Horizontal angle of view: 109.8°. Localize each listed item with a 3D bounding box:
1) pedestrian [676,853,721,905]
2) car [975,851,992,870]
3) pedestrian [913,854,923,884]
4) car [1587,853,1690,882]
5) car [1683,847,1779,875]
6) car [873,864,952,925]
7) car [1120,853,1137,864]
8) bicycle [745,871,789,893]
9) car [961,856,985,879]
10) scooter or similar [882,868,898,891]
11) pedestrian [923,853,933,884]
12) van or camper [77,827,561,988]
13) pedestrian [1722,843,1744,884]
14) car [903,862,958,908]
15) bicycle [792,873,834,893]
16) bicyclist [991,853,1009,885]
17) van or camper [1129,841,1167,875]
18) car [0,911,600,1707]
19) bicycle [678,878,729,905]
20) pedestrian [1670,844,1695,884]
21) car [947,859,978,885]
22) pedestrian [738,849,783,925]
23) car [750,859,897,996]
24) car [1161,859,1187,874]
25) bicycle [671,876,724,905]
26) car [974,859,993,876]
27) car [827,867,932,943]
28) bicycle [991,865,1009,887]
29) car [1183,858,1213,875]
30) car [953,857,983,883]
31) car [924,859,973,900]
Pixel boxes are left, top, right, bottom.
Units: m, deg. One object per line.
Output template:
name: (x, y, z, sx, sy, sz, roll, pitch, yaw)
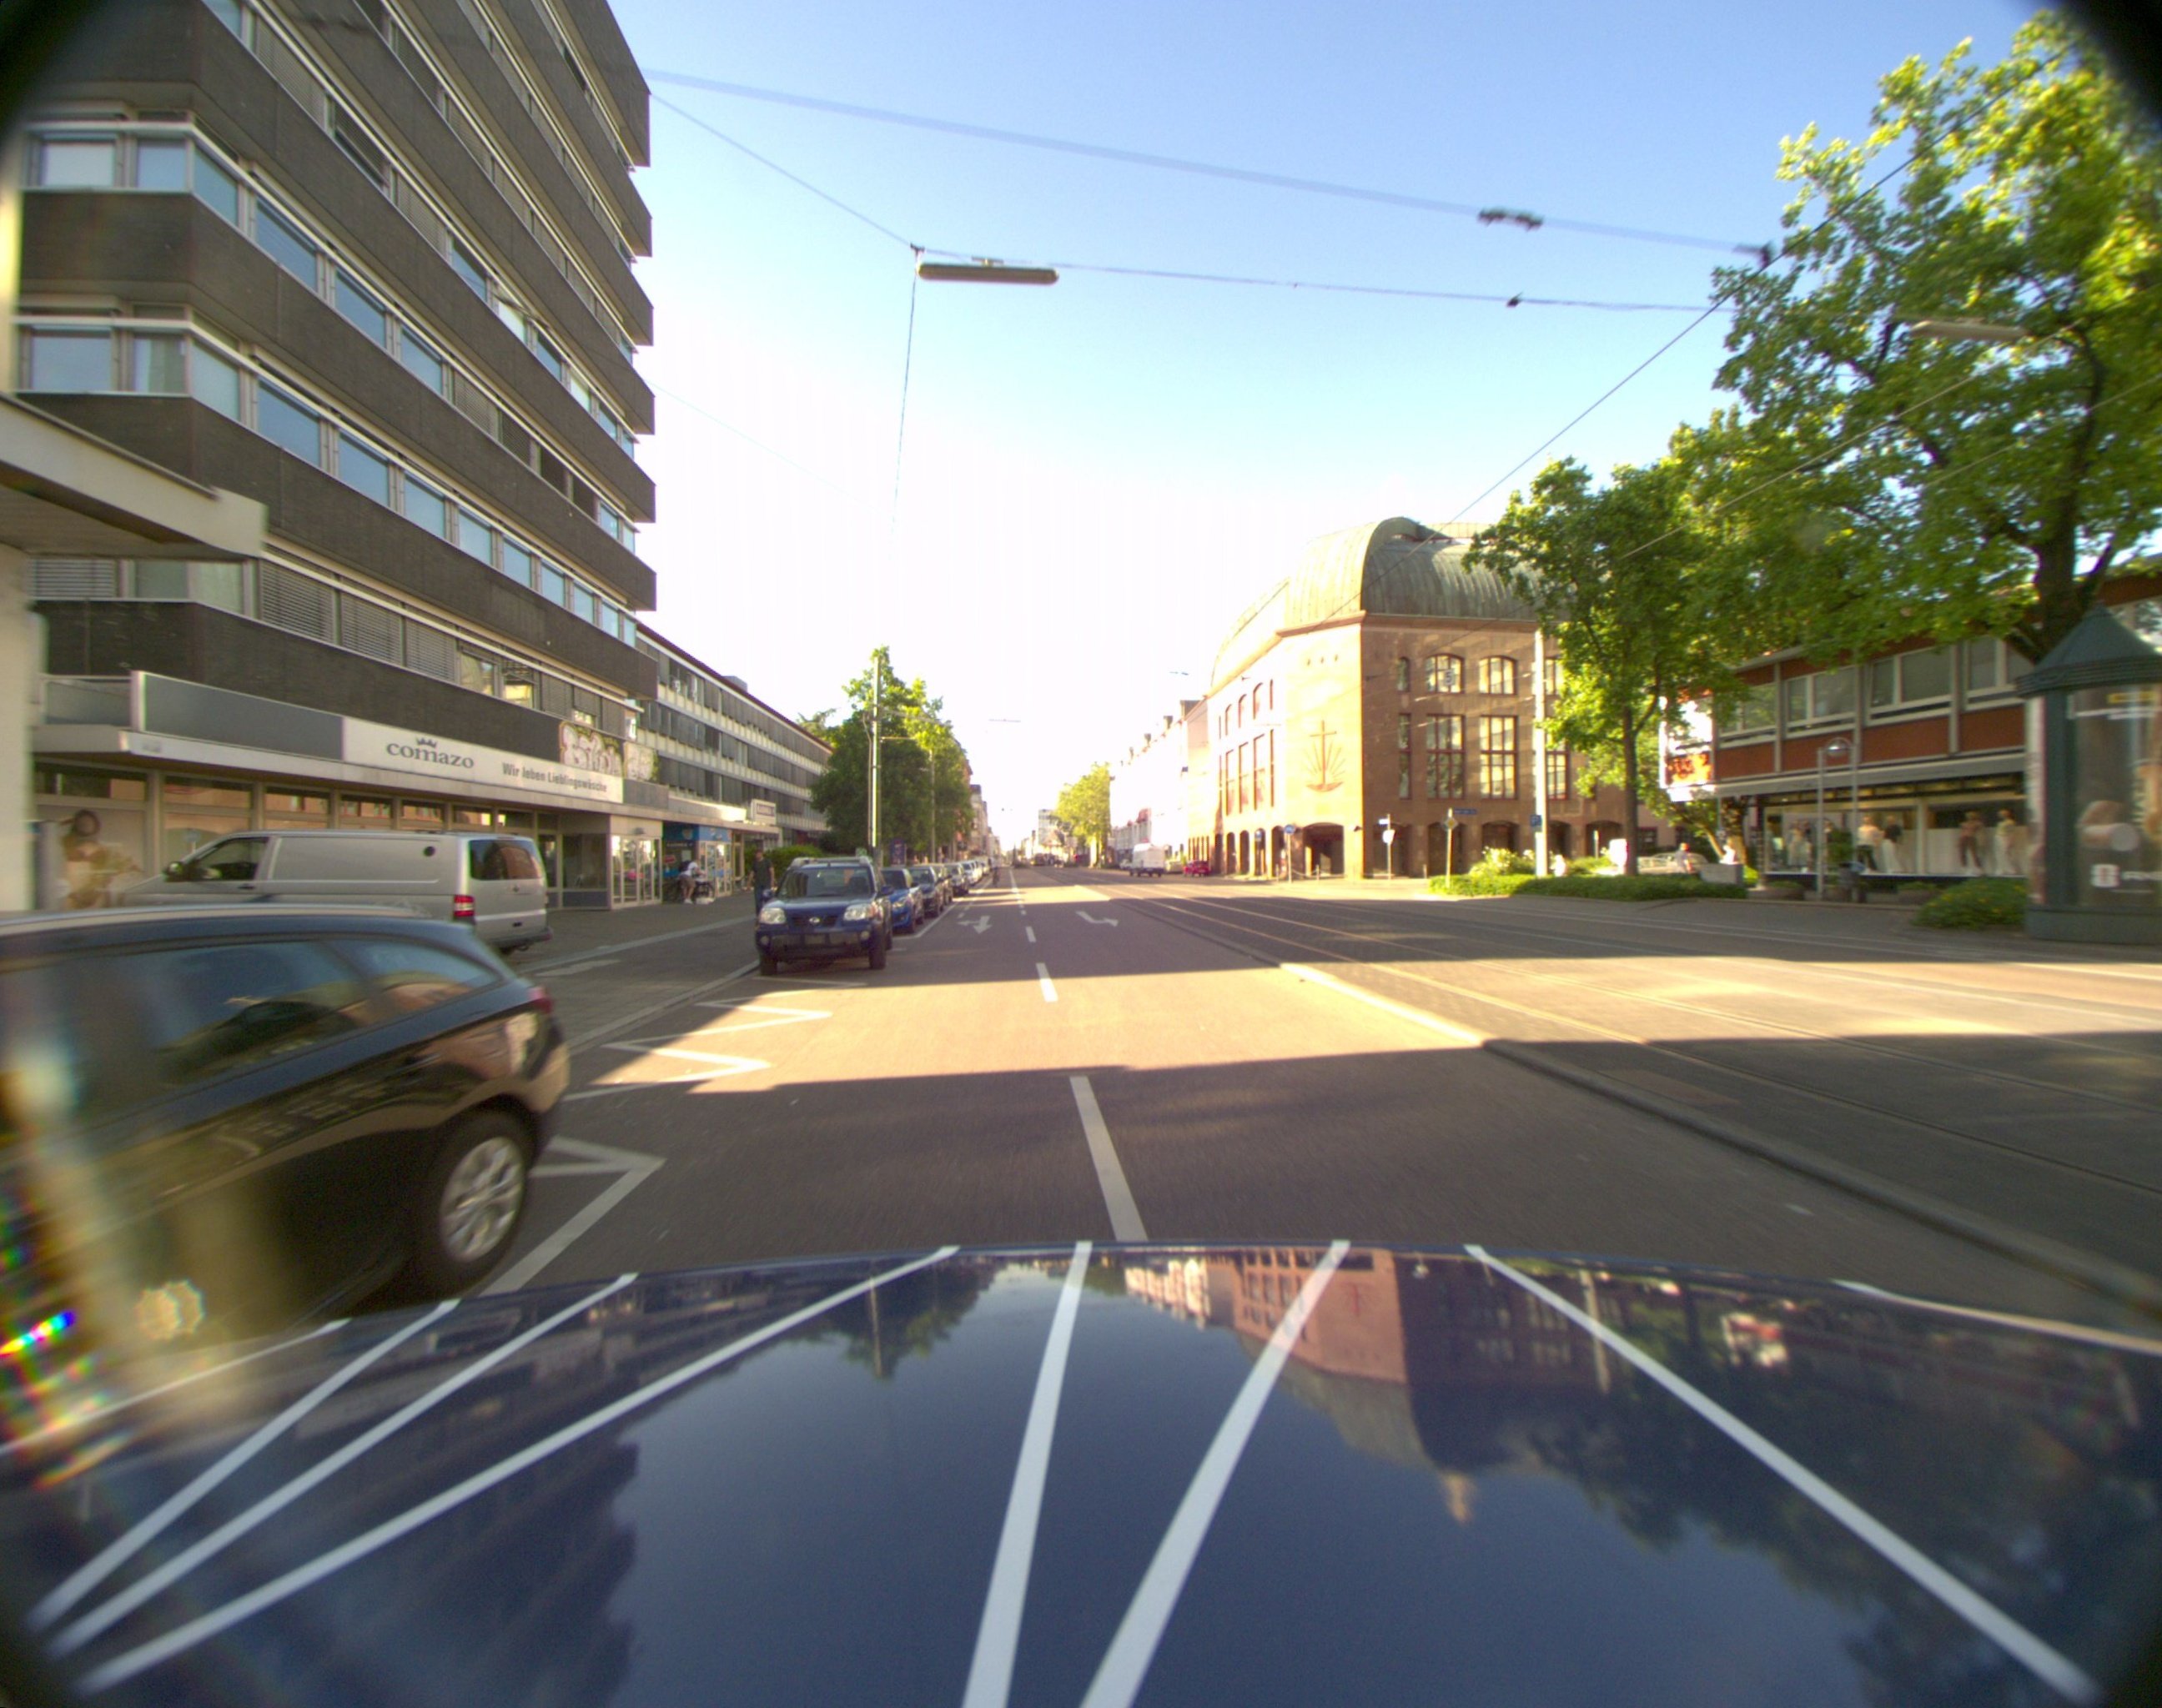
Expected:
pedestrian: (-12.904, 0.827, 25.633, 1.013, 1.639, 0.916, 3, 1, -4)
car: (-11.350, 0.718, 88.852, 1.734, 2.038, 4.112, -2, 2, -5)
pedestrian: (-10.919, 1.003, 50.854, 0.508, 2.002, 0.574, -2, 2, -5)
car: (30.273, 0.701, 41.343, 4.274, 1.521, 1.999, 0, 0, -6)
car: (36.833, 0.403, 43.097, 4.277, 1.521, 1.998, 0, 0, -13)
car: (-4.877, 1.110, 22.464, 1.703, 1.474, 4.224, -2, 1, -5)
car: (6.594, 0.617, 106.084, 1.856, 1.445, 3.851, -1, 0, -5)
bicycle: (-14.651, 1.298, 35.488, 1.808, 0.960, 0.572, 2, 1, -5)
car: (-8.274, 1.034, 58.334, 1.734, 1.586, 4.112, -3, 1, -8)
scooter or similar: (-10.587, 1.379, 42.081, 0.582, 1.202, 1.312, 3, 0, -4)
pedestrian: (-10.220, 0.955, 50.856, 0.508, 2.002, 0.574, -2, 2, -5)
van or camper: (-10.424, 0.698, 10.731, 4.705, 1.922, 2.000, 2, 0, -1)
pedestrian: (25.599, 0.383, 29.829, 0.446, 1.583, 0.723, 0, 0, 20)
car: (-5.523, 1.106, 28.162, 1.575, 1.474, 3.555, -2, 1, -5)
bicycle: (-12.844, 1.407, 36.423, 1.815, 0.916, 0.406, 1, 1, -8)
bicyclist: (-4.612, 0.824, 43.354, 0.896, 1.755, 1.029, -2, 2, -5)
van or camper: (5.671, 0.356, 65.423, 2.042, 2.723, 7.017, 0, 0, -5)
car: (-2.937, 1.017, 1.322, 1.695, 1.442, 4.357, -2, 0, -5)
bicycle: (-13.140, 1.298, 26.479, 1.575, 0.916, 0.339, 0, 1, -6)
pedestrian: (24.030, 0.395, 30.343, 0.447, 1.583, 0.722, 0, 0, 4)
car: (-7.381, 1.115, 47.672, 1.734, 1.474, 3.862, -2, 0, -7)
pedestrian: (-8.426, 0.838, 20.012, 0.686, 1.901, 1.062, -2, 2, -2)
car: (-3.987, 0.992, 12.466, 1.696, 1.703, 4.610, -3, 1, -12)
car: (9.418, 1.221, 77.570, 1.856, 1.445, 3.851, -1, 0, -5)
bicycle: (-13.065, 1.248, 25.925, 1.576, 0.916, 0.339, 2, 1, -6)
car: (-9.618, 1.298, 75.235, 1.734, 1.474, 4.112, -2, 2, -5)
car: (-4.610, 1.106, 17.889, 1.719, 1.446, 3.776, -2, 0, -5)
bicycle: (-4.592, 1.230, 43.252, 0.889, 1.155, 2.077, -2, 1, -5)
car: (10.417, 1.118, 67.918, 1.754, 1.445, 3.469, -1, 0, -7)
car: (-7.796, 1.080, 52.713, 1.734, 1.568, 4.113, -2, 1, -5)
car: (-5.885, 1.076, 34.193, 1.734, 1.474, 4.925, -2, 2, -5)
